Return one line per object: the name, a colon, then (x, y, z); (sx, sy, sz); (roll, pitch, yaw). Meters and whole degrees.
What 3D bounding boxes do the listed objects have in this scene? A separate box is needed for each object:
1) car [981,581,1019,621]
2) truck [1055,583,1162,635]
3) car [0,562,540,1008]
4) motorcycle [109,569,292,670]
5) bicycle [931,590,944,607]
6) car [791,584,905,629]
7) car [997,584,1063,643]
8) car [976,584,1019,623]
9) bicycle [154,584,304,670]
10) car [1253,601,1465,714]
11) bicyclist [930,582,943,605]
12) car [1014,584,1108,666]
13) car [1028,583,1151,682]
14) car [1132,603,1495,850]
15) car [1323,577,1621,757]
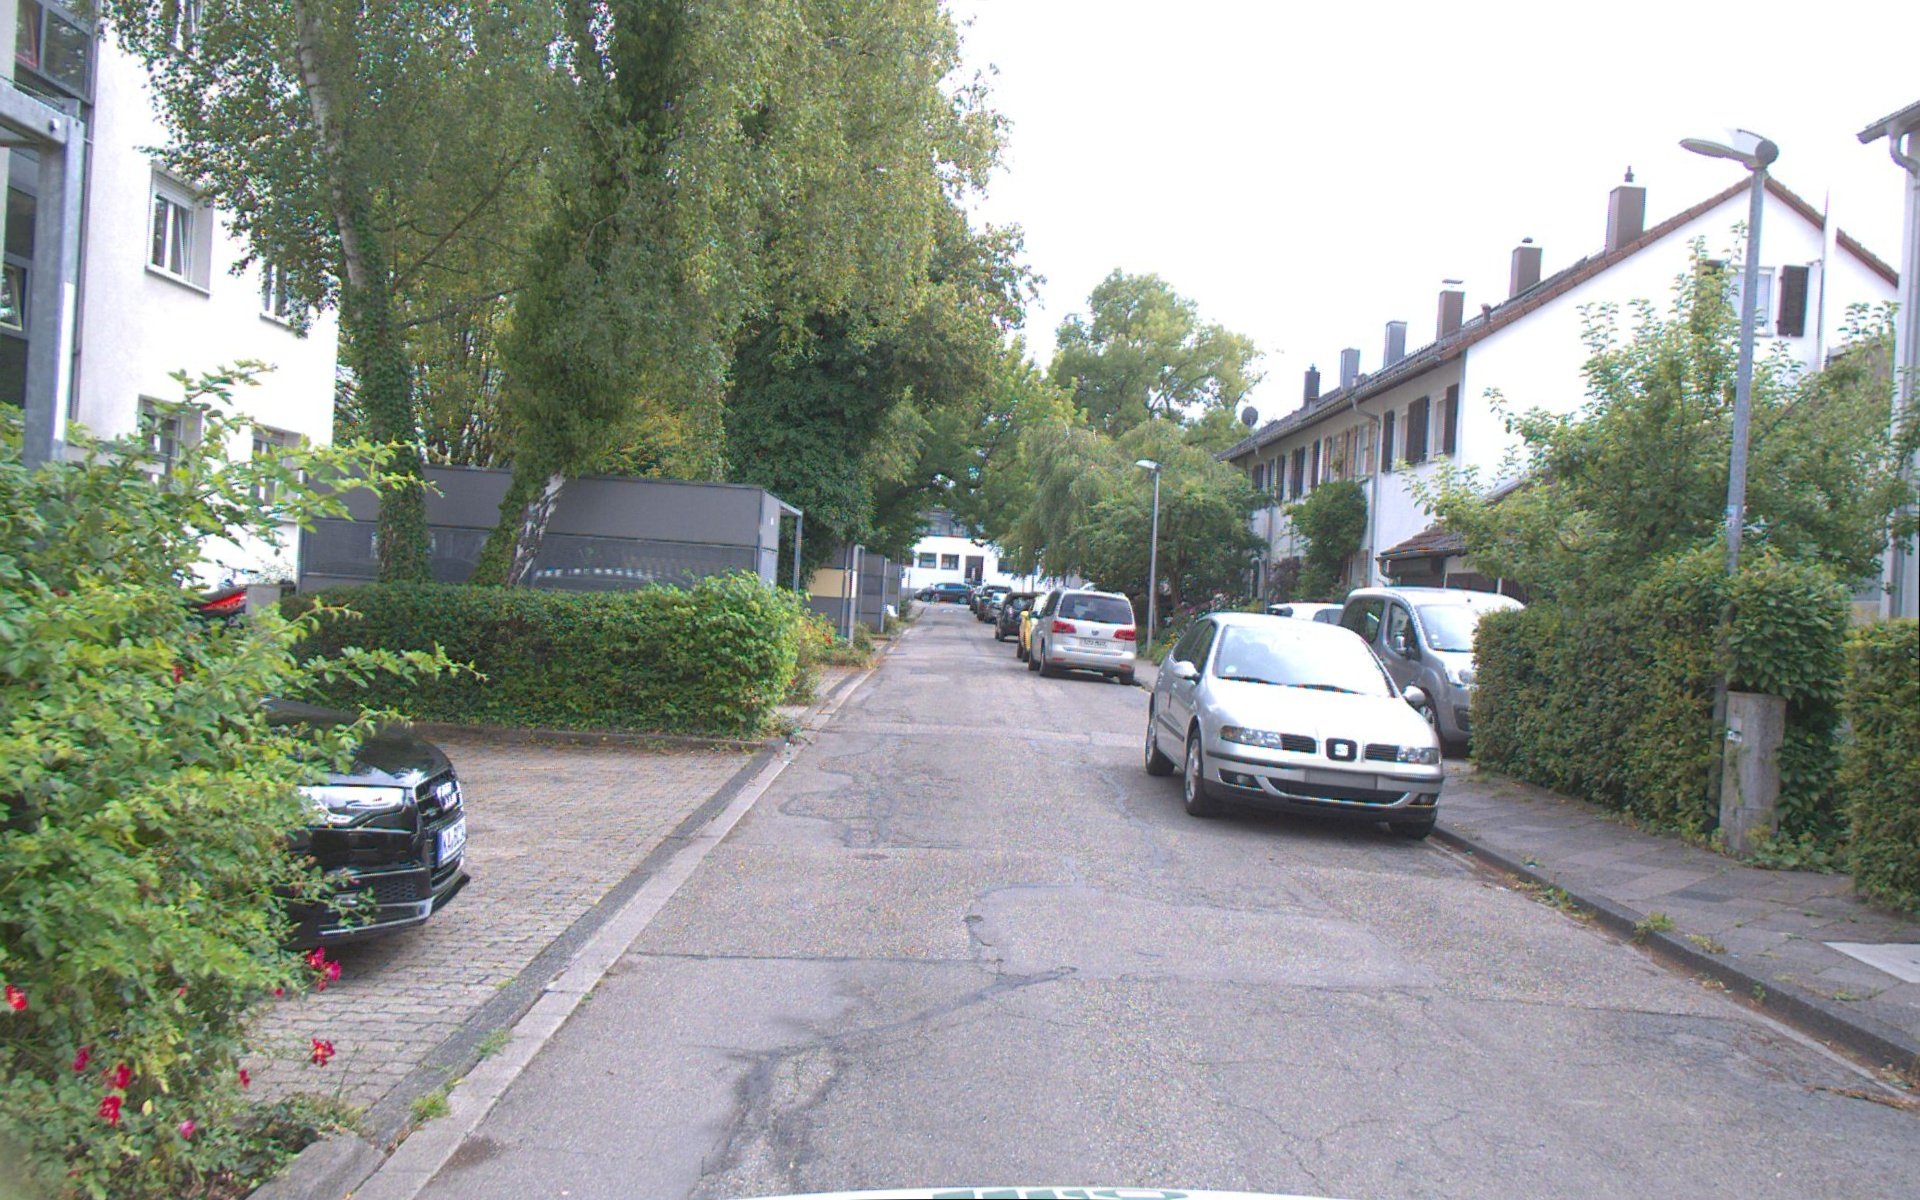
car: (2.115, 0.030, 88.263); (1.788, 1.915, 4.000); (5, 0, 0)
truck: (6.237, 0.383, 69.864); (4.301, 2.049, 2.000); (1, 0, -1)
car: (-3.929, 0.555, 6.247); (4.241, 1.400, 1.921); (3, 0, -6)
motorcycle: (-9.066, 0.238, 19.780); (1.877, 1.143, 0.668); (2, 0, -35)
bicycle: (-1.592, -0.122, 116.806); (0.675, 1.151, 2.579); (5, 0, 2)
car: (-4.004, 0.226, 59.365); (3.949, 1.418, 1.738); (2, 0, -1)
car: (2.141, 0.395, 51.527); (1.788, 1.608, 4.193); (5, 0, 0)
car: (1.712, 0.156, 76.614); (1.788, 1.608, 4.000); (5, 0, 0)
bicycle: (-9.193, 0.339, 20.811); (1.644, 1.021, 0.572); (2, 0, -31)
car: (6.026, 0.853, 25.188); (2.760, 1.596, 1.740); (1, 0, -3)
bicyclist: (-1.637, -0.464, 116.825); (0.782, 1.537, 0.934); (5, 0, 2)
car: (2.260, 0.528, 37.869); (1.788, 1.608, 4.000); (5, 0, 0)
car: (2.381, 0.554, 31.400); (1.789, 1.608, 3.999); (5, 0, -2)
car: (2.504, 0.820, 12.817); (1.788, 1.394, 4.331); (5, 0, 0)
car: (5.651, 0.683, 18.853); (1.789, 1.808, 4.337); (1, 0, -4)
